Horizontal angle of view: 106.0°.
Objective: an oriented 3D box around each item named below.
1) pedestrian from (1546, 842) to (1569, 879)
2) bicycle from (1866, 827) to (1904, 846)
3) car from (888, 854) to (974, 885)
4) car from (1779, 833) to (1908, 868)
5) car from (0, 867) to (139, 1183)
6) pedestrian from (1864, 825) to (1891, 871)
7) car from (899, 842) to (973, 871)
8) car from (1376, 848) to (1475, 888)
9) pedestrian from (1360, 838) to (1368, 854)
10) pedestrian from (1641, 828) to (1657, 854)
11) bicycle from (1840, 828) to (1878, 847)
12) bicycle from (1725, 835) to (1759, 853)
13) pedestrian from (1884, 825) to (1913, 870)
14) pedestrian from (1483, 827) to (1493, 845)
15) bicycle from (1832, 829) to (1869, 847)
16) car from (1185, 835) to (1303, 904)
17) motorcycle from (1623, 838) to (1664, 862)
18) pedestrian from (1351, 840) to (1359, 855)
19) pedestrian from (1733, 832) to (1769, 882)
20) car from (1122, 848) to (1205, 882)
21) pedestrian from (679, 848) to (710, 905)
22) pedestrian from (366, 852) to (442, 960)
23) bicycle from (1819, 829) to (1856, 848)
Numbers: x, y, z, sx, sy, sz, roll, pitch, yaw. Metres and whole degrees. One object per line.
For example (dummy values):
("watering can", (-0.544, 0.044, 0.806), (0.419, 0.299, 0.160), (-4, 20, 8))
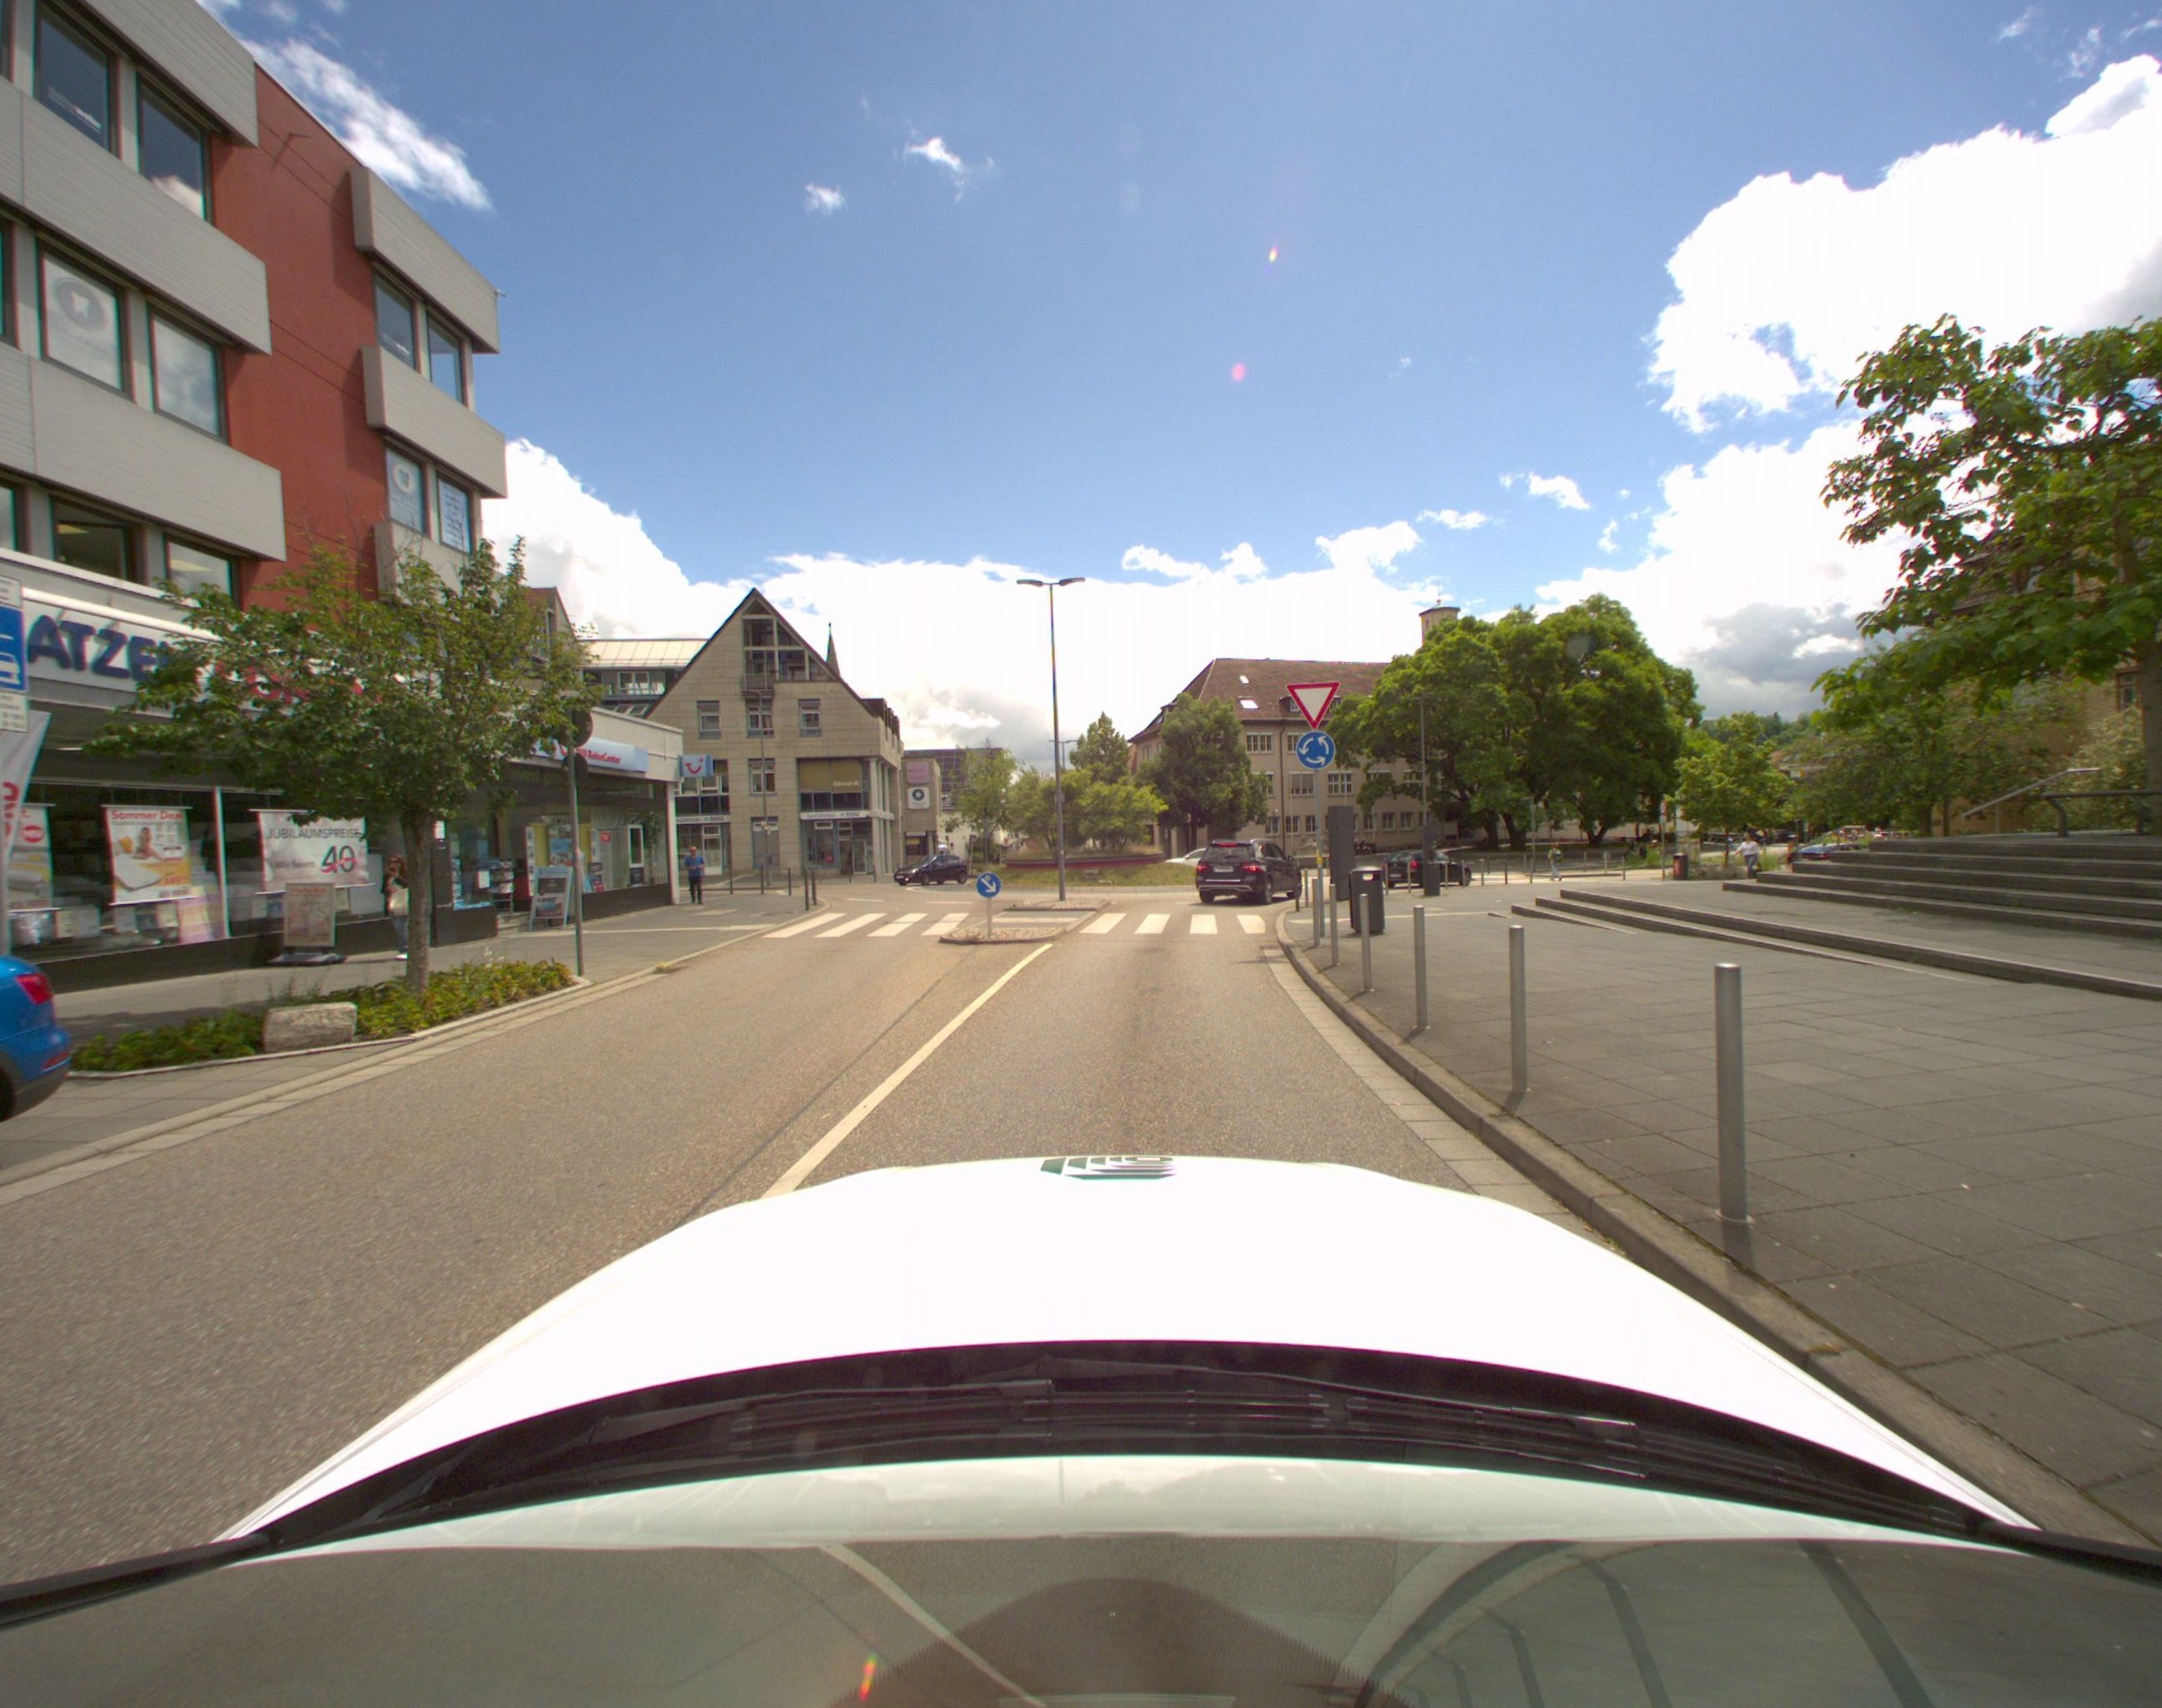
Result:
("pedestrian", (20.364, 0.262, 34.821), (0.548, 1.514, 0.789), (-3, 2, 4))
("bicycle", (48.110, -1.036, 48.741), (0.576, 1.091, 1.567), (-1, 1, -11))
("car", (-7.221, 0.758, 39.569), (1.681, 1.419, 4.145), (-3, -2, 34))
("car", (32.853, -0.147, 35.122), (4.362, 1.406, 1.855), (-1, 0, -11))
("car", (-6.440, 0.878, 2.605), (1.688, 1.599, 4.334), (1, 0, 2))
("pedestrian", (28.866, -0.212, 29.522), (0.547, 1.629, 0.682), (-1, -1, 33))
("car", (-13.130, 0.243, 73.602), (6.309, 2.560, 2.190), (0, -3, -22))
("car", (13.137, 0.495, 30.974), (3.851, 1.383, 1.597), (-2, 0, -34))
("pedestrian", (22.511, -0.638, 64.710), (0.482, 1.222, 0.584), (0, 0, 35))
("pedestrian", (35.140, -0.812, 50.403), (0.616, 1.577, 0.578), (-1, 0, -23))
("bicycle", (46.258, -0.985, 48.446), (0.576, 1.091, 1.567), (-1, 1, -11))
("bicycle", (37.986, -0.577, 46.813), (0.498, 0.997, 1.614), (-1, 1, -5))
("pedestrian", (29.608, -0.232, 29.491), (0.506, 1.629, 0.506), (-1, -1, 5))
("pedestrian", (33.636, -1.511, 67.336), (0.692, 1.492, 0.819), (0, 0, 22))
("bicycle", (45.512, -0.933, 48.174), (0.537, 1.069, 1.567), (-1, 1, -11))
("car", (4.785, 0.367, 23.340), (2.008, 1.727, 4.461), (-1, 2, 29))
("motorcycle", (31.898, -0.240, 46.217), (0.581, 1.289, 2.132), (-4, 2, -9))
("pedestrian", (21.669, -0.522, 64.354), (0.482, 1.182, 0.584), (0, 0, 35))
("pedestrian", (23.722, 0.112, 28.851), (0.778, 1.745, 0.700), (-2, 0, -29))
("car", (4.534, 0.595, 44.621), (4.223, 1.576, 1.857), (-3, 0, 15))
("pedestrian", (-11.154, 0.640, 23.508), (0.566, 1.603, 0.605), (-1, 1, -4))
("pedestrian", (-10.241, 0.772, 12.329), (0.584, 1.588, 0.640), (-1, 0, 6))
("bicycle", (44.735, -0.922, 48.150), (0.576, 1.091, 1.567), (-1, 1, -11))
